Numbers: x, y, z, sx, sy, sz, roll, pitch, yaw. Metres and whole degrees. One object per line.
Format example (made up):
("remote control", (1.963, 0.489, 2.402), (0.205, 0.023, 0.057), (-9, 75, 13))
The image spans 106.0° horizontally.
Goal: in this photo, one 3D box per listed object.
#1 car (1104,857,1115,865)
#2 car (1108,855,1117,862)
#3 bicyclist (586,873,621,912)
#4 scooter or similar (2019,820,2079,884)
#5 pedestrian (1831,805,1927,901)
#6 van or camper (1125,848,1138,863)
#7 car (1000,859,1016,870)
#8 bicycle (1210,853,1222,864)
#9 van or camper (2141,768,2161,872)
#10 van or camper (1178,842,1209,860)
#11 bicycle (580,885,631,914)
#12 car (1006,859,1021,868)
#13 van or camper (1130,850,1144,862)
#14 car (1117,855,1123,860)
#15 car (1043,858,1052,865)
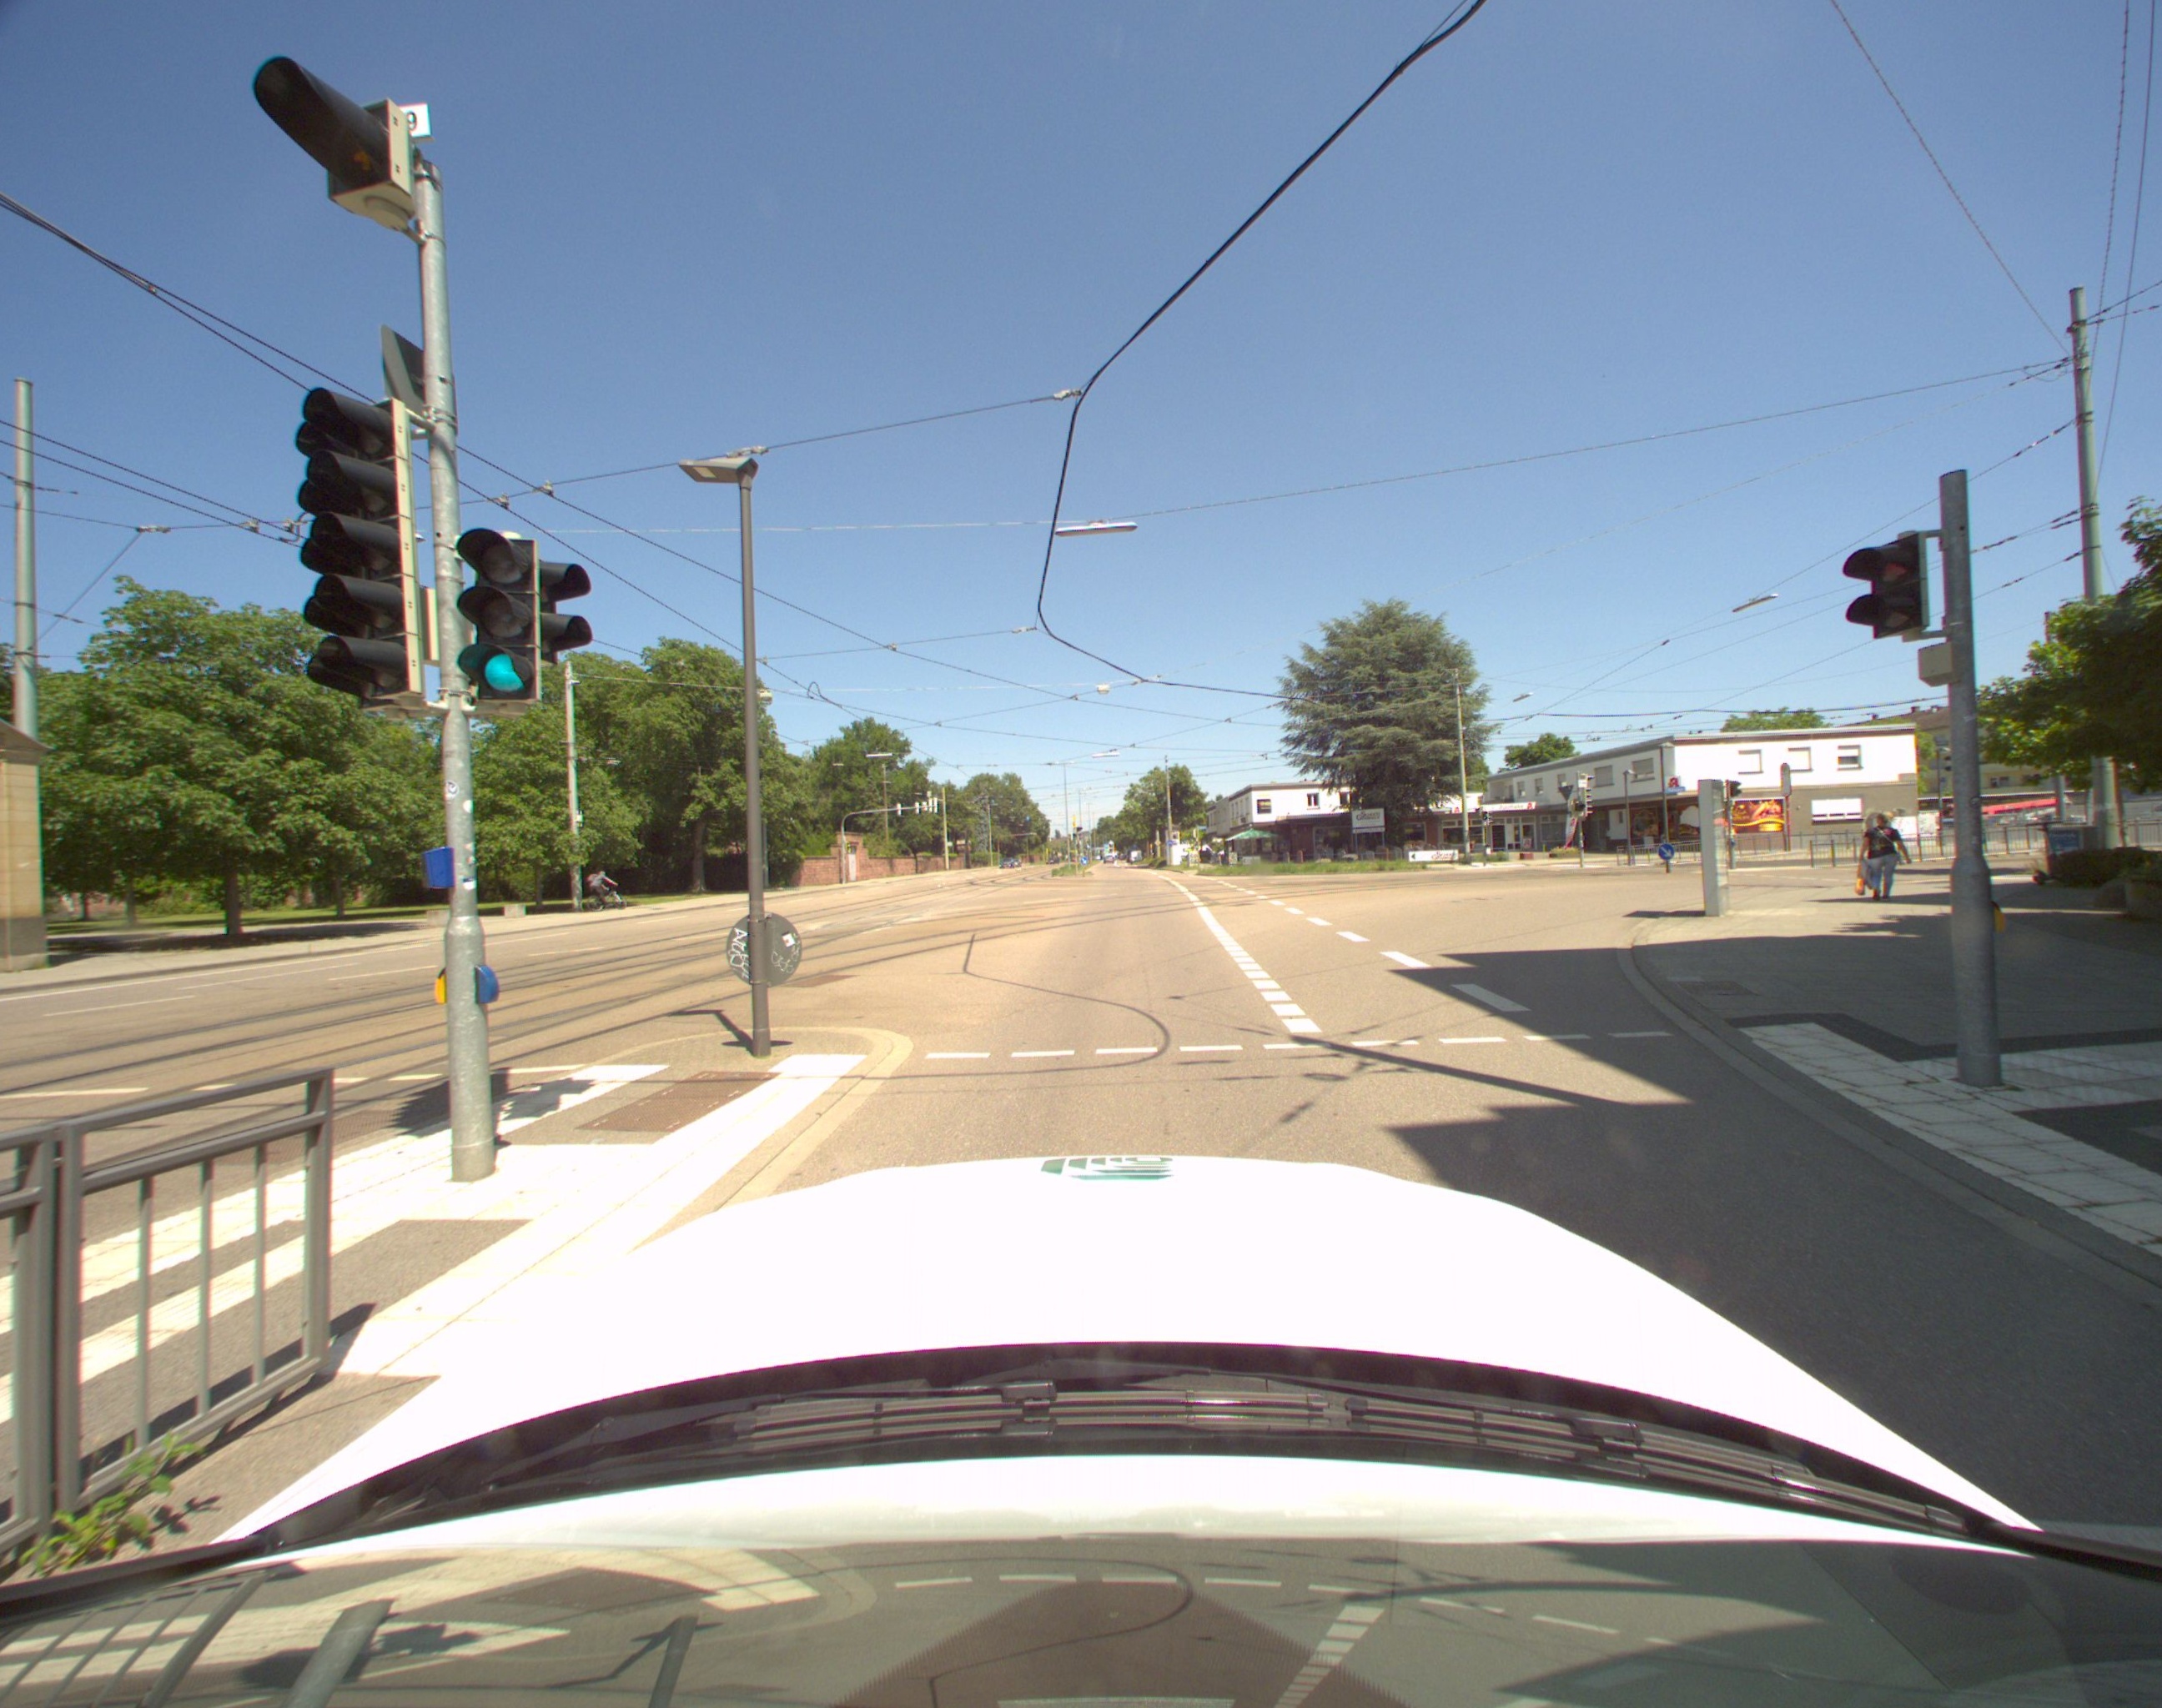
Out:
("car", (4.809, 1.181, 139.165), (1.631, 1.351, 3.841), (-2, 0, 0))
("car", (7.068, 0.999, 183.008), (1.666, 1.435, 3.471), (-2, 0, -2))
("bicyclist", (-19.580, 1.584, 33.402), (0.846, 1.531, 0.846), (-2, -1, 4))
("scooter or similar", (19.082, -0.046, 16.053), (1.257, 1.213, 0.391), (-2, -1, -25))
("pedestrian", (14.101, -0.015, 14.423), (0.819, 1.583, 0.830), (-6, -1, 18))
("van or camper", (9.109, 0.276, 147.259), (1.987, 2.464, 3.999), (-2, 0, 0))
("car", (-11.087, 1.604, 123.913), (1.812, 1.603, 4.524), (-2, 0, 3))
("bicycle", (13.090, 0.450, 78.907), (1.027, 1.014, 2.644), (-2, 0, 9))
("van or camper", (31.414, -1.022, 20.985), (5.205, 2.765, 2.208), (-2, 0, 1))
("van or camper", (18.959, -0.498, 137.373), (4.740, 2.671, 2.136), (-2, 0, 0))
("bicycle", (-19.563, 1.852, 33.558), (0.711, 1.041, 2.106), (-2, 0, 4))
("car", (-11.044, 1.567, 133.833), (1.633, 1.421, 4.173), (-2, 0, 5))
("van or camper", (8.569, 0.281, 124.757), (1.914, 1.772, 4.003), (-2, 0, 3))
("car", (12.452, 1.132, 259.858), (1.519, 1.296, 3.492), (-2, 0, 0))
("car", (-6.847, 1.509, 167.291), (1.635, 1.399, 4.117), (-2, 0, 1))
